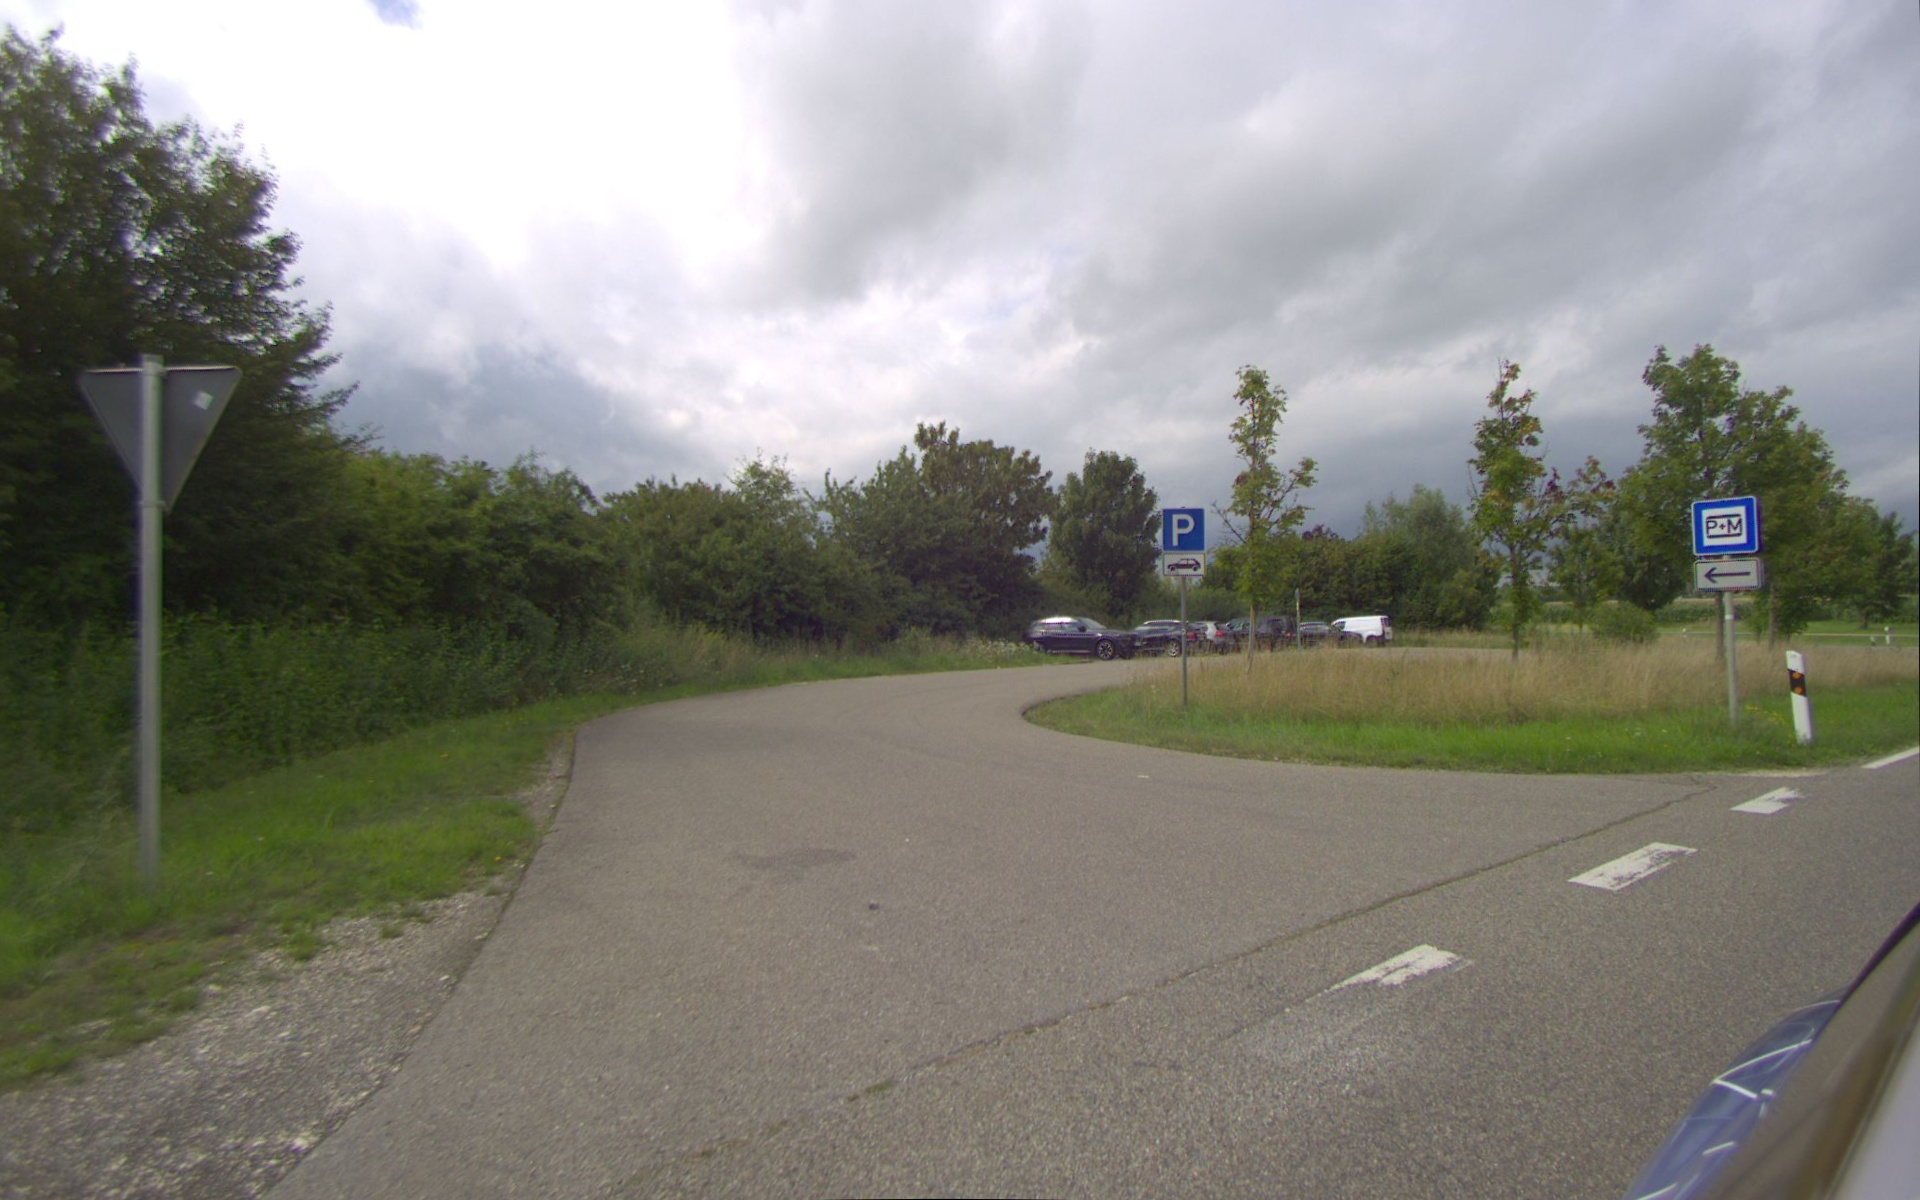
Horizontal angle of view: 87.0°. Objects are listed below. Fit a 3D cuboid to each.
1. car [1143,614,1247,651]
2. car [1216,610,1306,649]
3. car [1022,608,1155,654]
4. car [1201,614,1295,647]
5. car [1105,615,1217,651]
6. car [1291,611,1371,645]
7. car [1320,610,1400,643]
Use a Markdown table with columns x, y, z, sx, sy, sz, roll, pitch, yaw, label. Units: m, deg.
| x | y | z | sx | sy | sz | roll | pitch | yaw | label |
| --- | --- | --- | --- | --- | --- | --- | --- | --- | --- |
| 10.349 | 1.414 | 44.648 | 3.994 | 1.524 | 2.020 | -1 | -1 | 42 | car |
| 15.349 | 1.487 | 51.740 | 3.980 | 1.883 | 1.971 | -1 | -1 | 40 | car |
| 4.692 | 1.121 | 37.195 | 4.464 | 1.601 | 1.974 | -1 | -1 | 36 | car |
| 13.935 | 1.450 | 49.065 | 3.974 | 1.516 | 1.974 | -1 | -1 | 36 | car |
| 8.297 | 1.335 | 41.843 | 4.139 | 1.432 | 1.974 | -1 | -1 | 36 | car |
| 21.188 | 1.562 | 57.888 | 3.980 | 1.883 | 1.719 | -1 | -1 | 40 | car |
| 23.647 | 1.573 | 59.833 | 3.980 | 1.883 | 1.971 | -1 | -1 | 40 | car |
